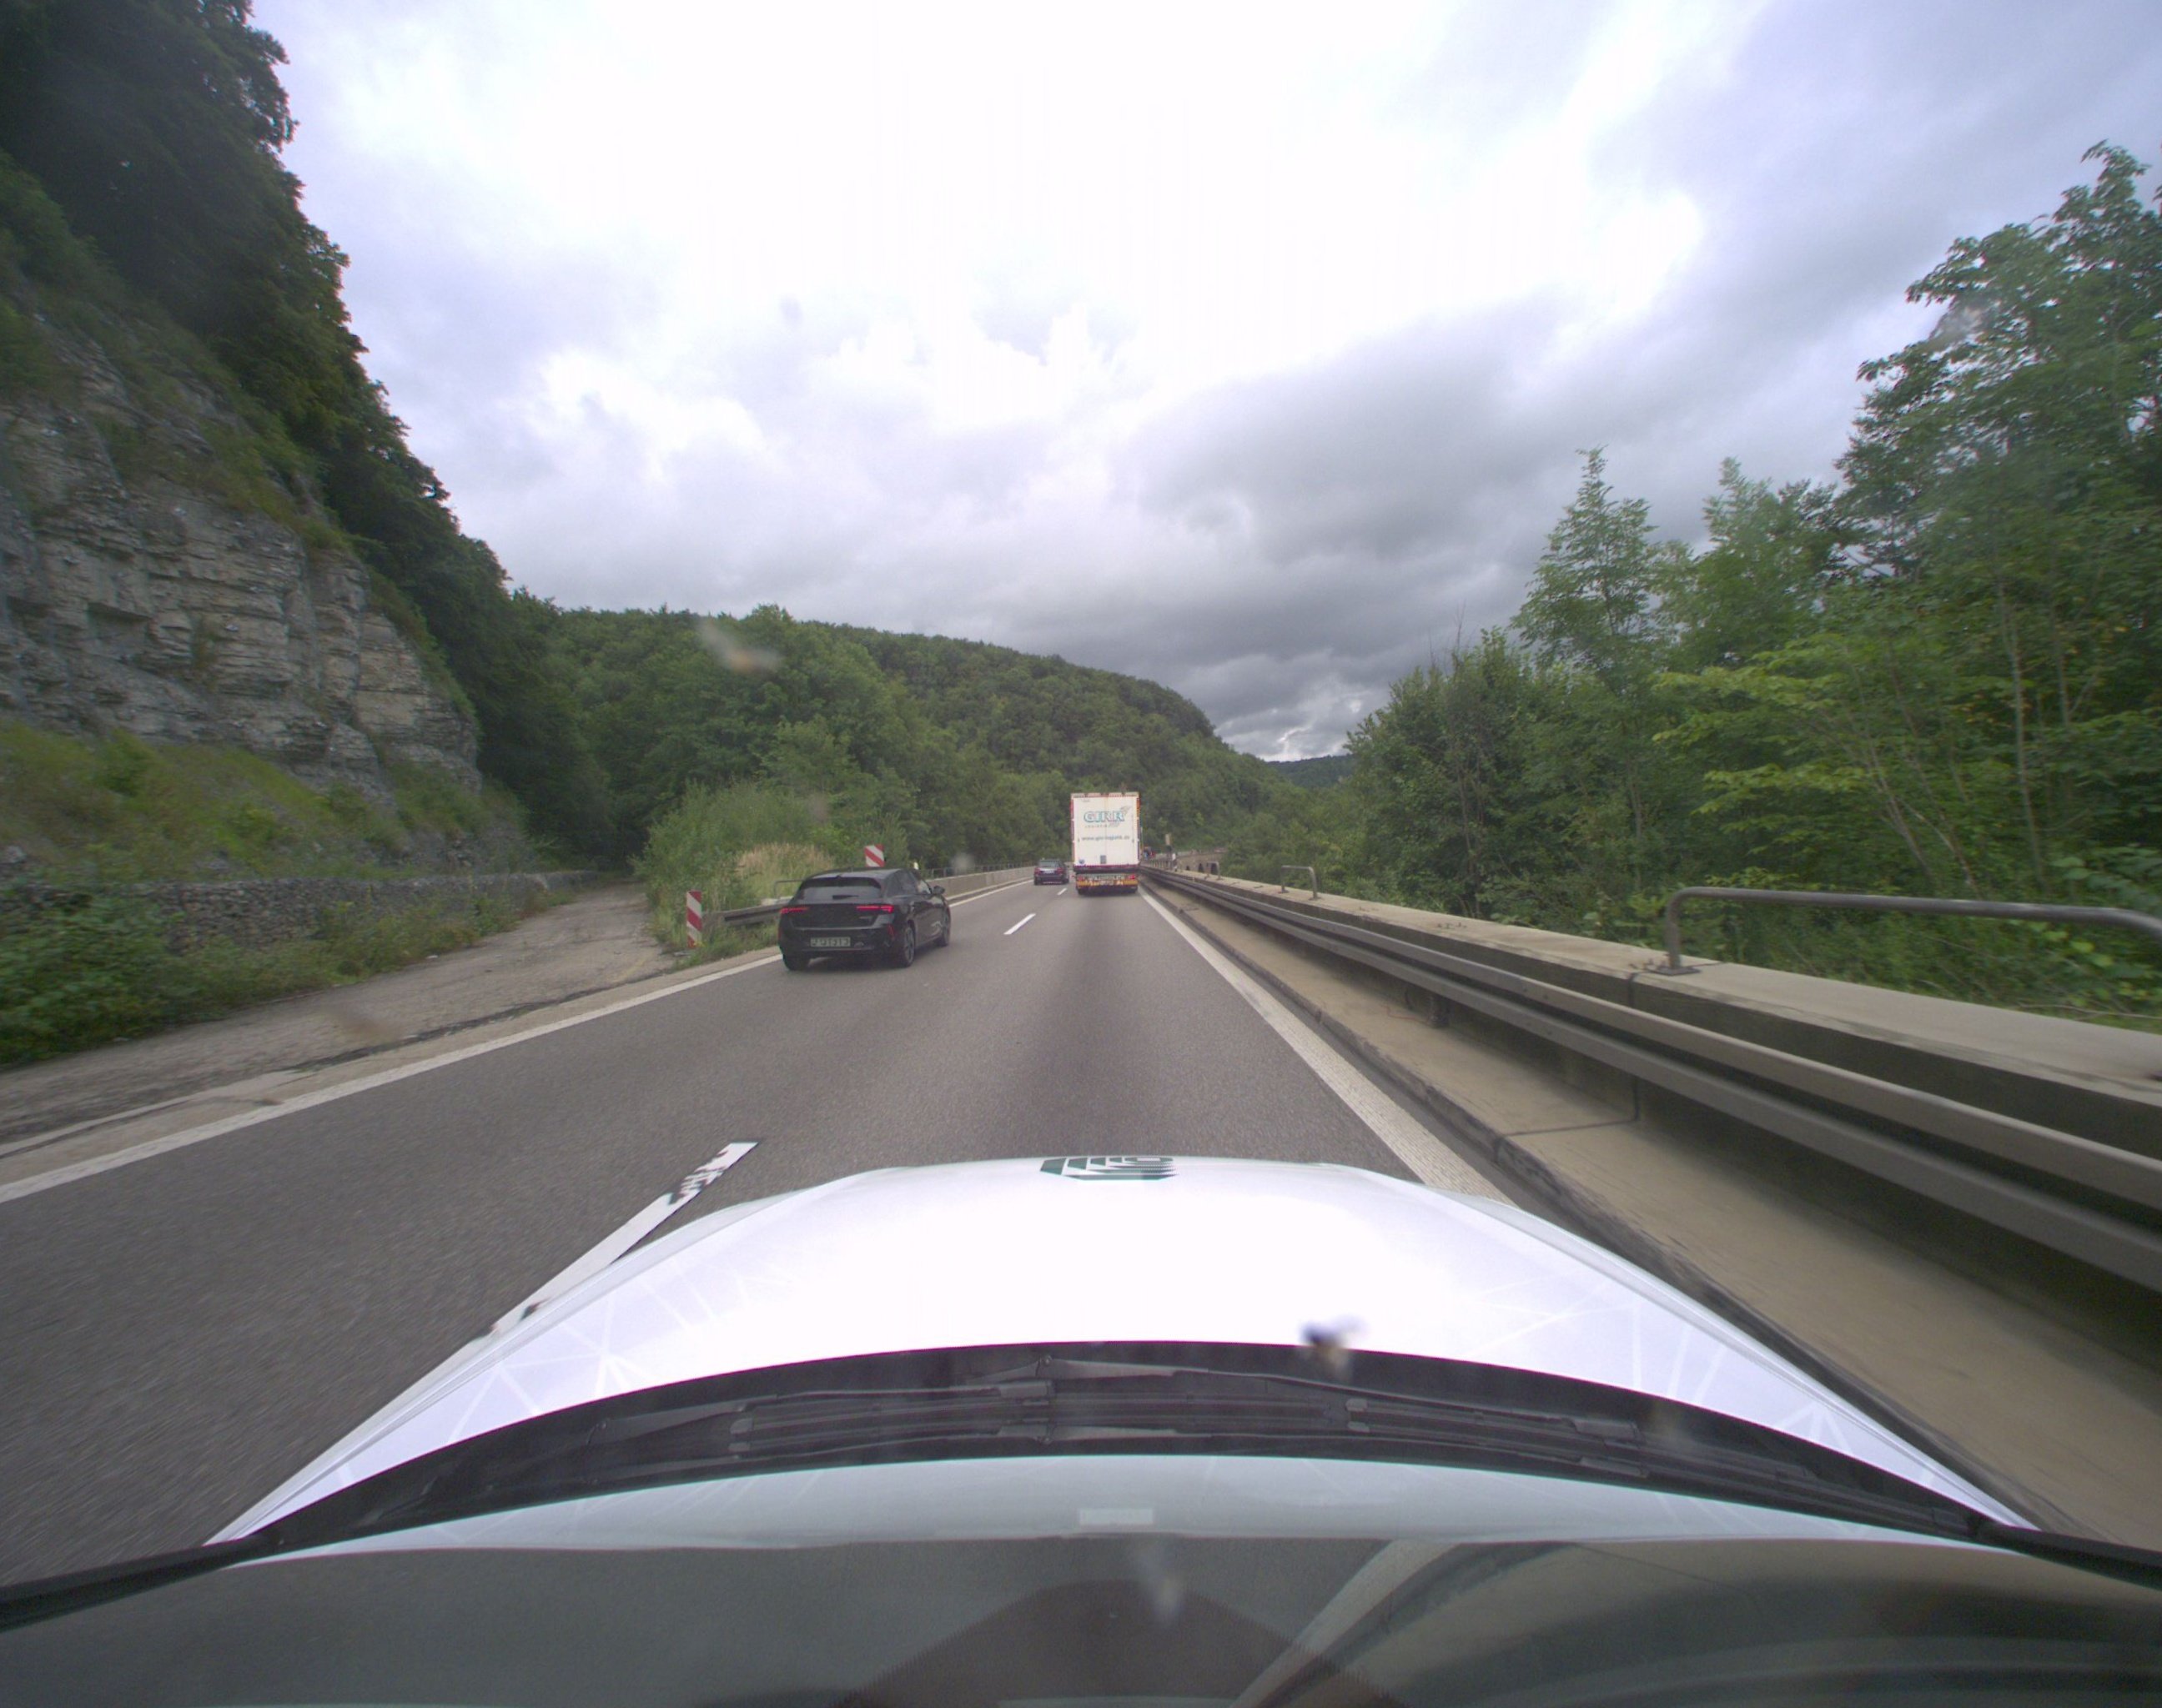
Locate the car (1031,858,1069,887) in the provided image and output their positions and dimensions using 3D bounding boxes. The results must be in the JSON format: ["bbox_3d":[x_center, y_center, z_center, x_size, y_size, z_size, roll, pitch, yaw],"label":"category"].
[{"bbox_3d":[-1.743,1.073,47.598,1.877,1.510,4.419,-3,-1,1],"label":"car"}]

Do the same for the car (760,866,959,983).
[{"bbox_3d":[-3.288,0.970,13.108,1.766,1.461,4.583,-2,0,2],"label":"car"}]

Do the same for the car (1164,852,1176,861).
[{"bbox_3d":[18.965,0.518,173.257,1.980,1.684,4.013,-2,-1,12],"label":"car"}]

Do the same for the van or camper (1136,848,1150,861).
[{"bbox_3d":[12.431,0.114,162.939,1.980,2.559,4.014,-2,-1,13],"label":"van or camper"}]

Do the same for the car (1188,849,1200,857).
[{"bbox_3d":[27.946,-0.304,201.137,1.976,1.794,4.020,-2,-1,21],"label":"car"}]

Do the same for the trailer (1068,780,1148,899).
[{"bbox_3d":[1.169,-0.462,36.532,2.803,4.302,12.247,-2,-1,1],"label":"trailer"}]
